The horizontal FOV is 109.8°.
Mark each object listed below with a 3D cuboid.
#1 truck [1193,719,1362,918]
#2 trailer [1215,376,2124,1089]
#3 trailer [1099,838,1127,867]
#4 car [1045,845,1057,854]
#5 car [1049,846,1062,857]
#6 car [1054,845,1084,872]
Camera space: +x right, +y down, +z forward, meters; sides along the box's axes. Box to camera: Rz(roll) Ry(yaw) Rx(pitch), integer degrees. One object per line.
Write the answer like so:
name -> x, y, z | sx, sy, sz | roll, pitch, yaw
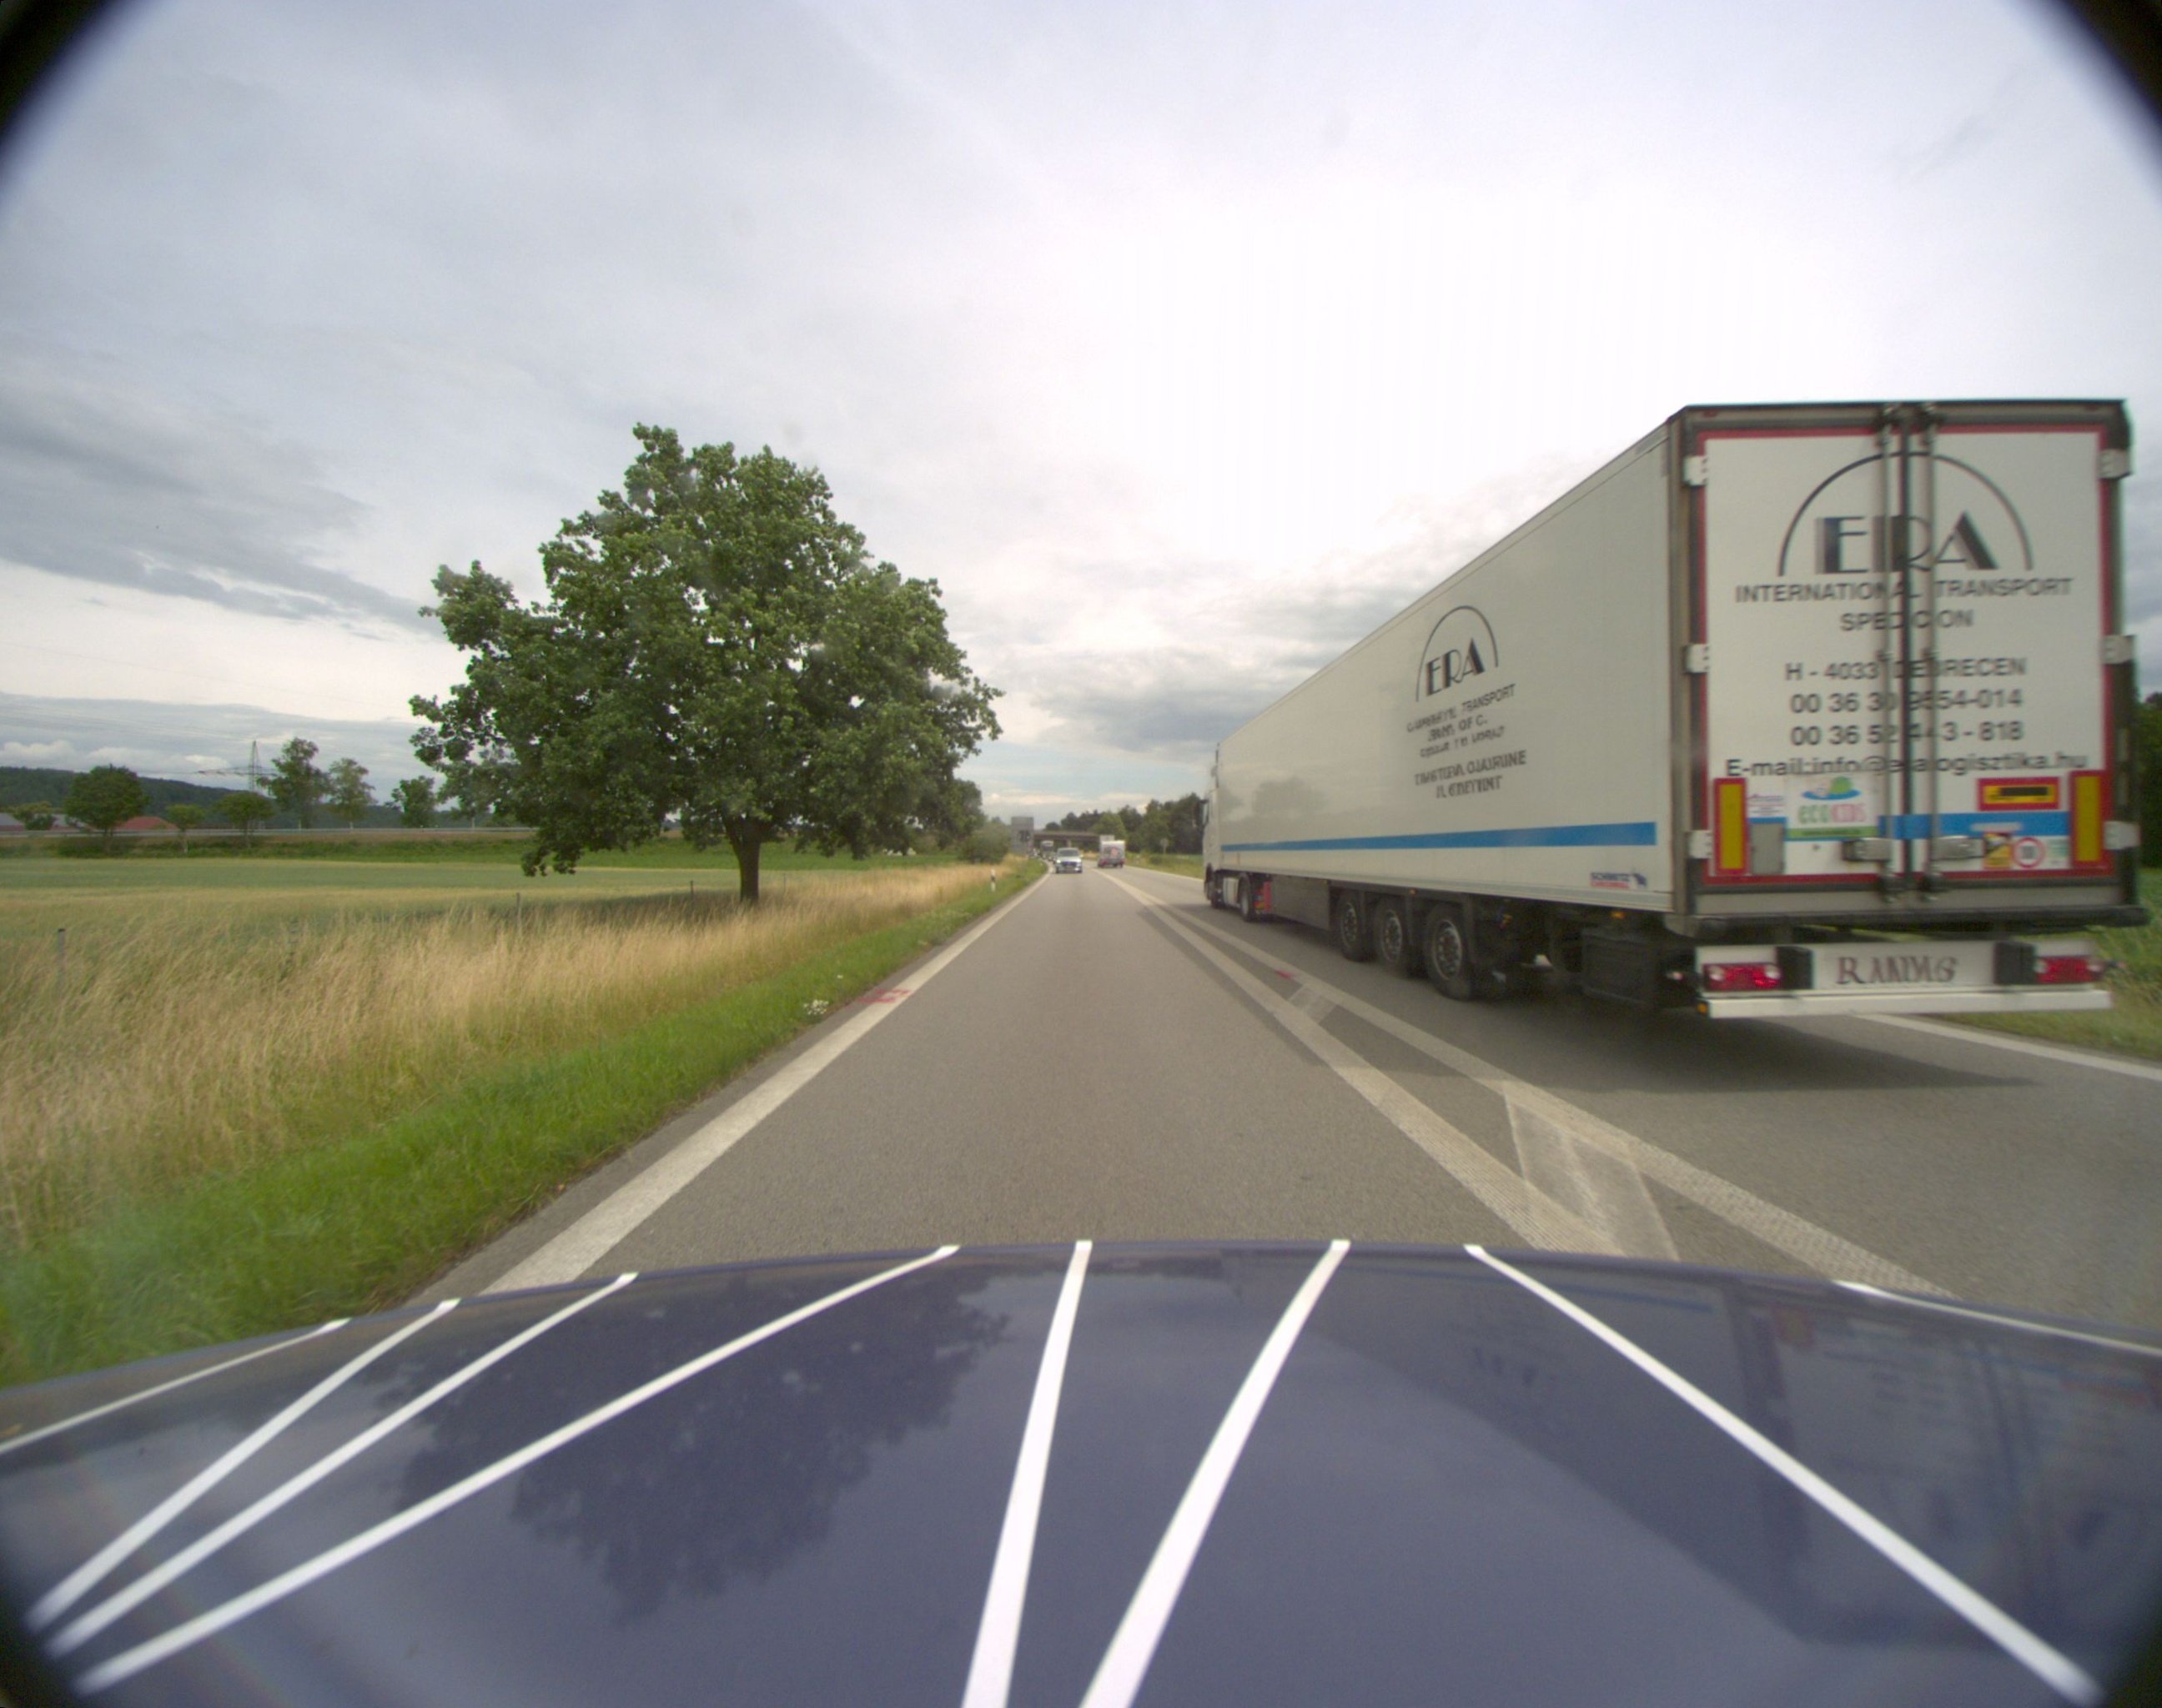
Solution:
truck -> 4.358, -0.732, 17.954 | 2.496, 3.972, 5.203 | -1, 0, -1
trailer -> 4.514, -0.706, 10.819 | 2.496, 3.972, 13.073 | -1, 0, -1
trailer -> 3.006, -0.216, 72.500 | 2.187, 2.560, 6.242 | -2, 1, -1
car -> -6.714, -1.054, 168.969 | 1.998, 2.002, 4.001 | -2, 1, 5
car -> -4.324, -0.463, 130.196 | 1.862, 1.679, 4.112 | -2, 1, 1
car -> -0.898, 0.305, 56.357 | 1.924, 1.823, 3.998 | -2, 1, -4
